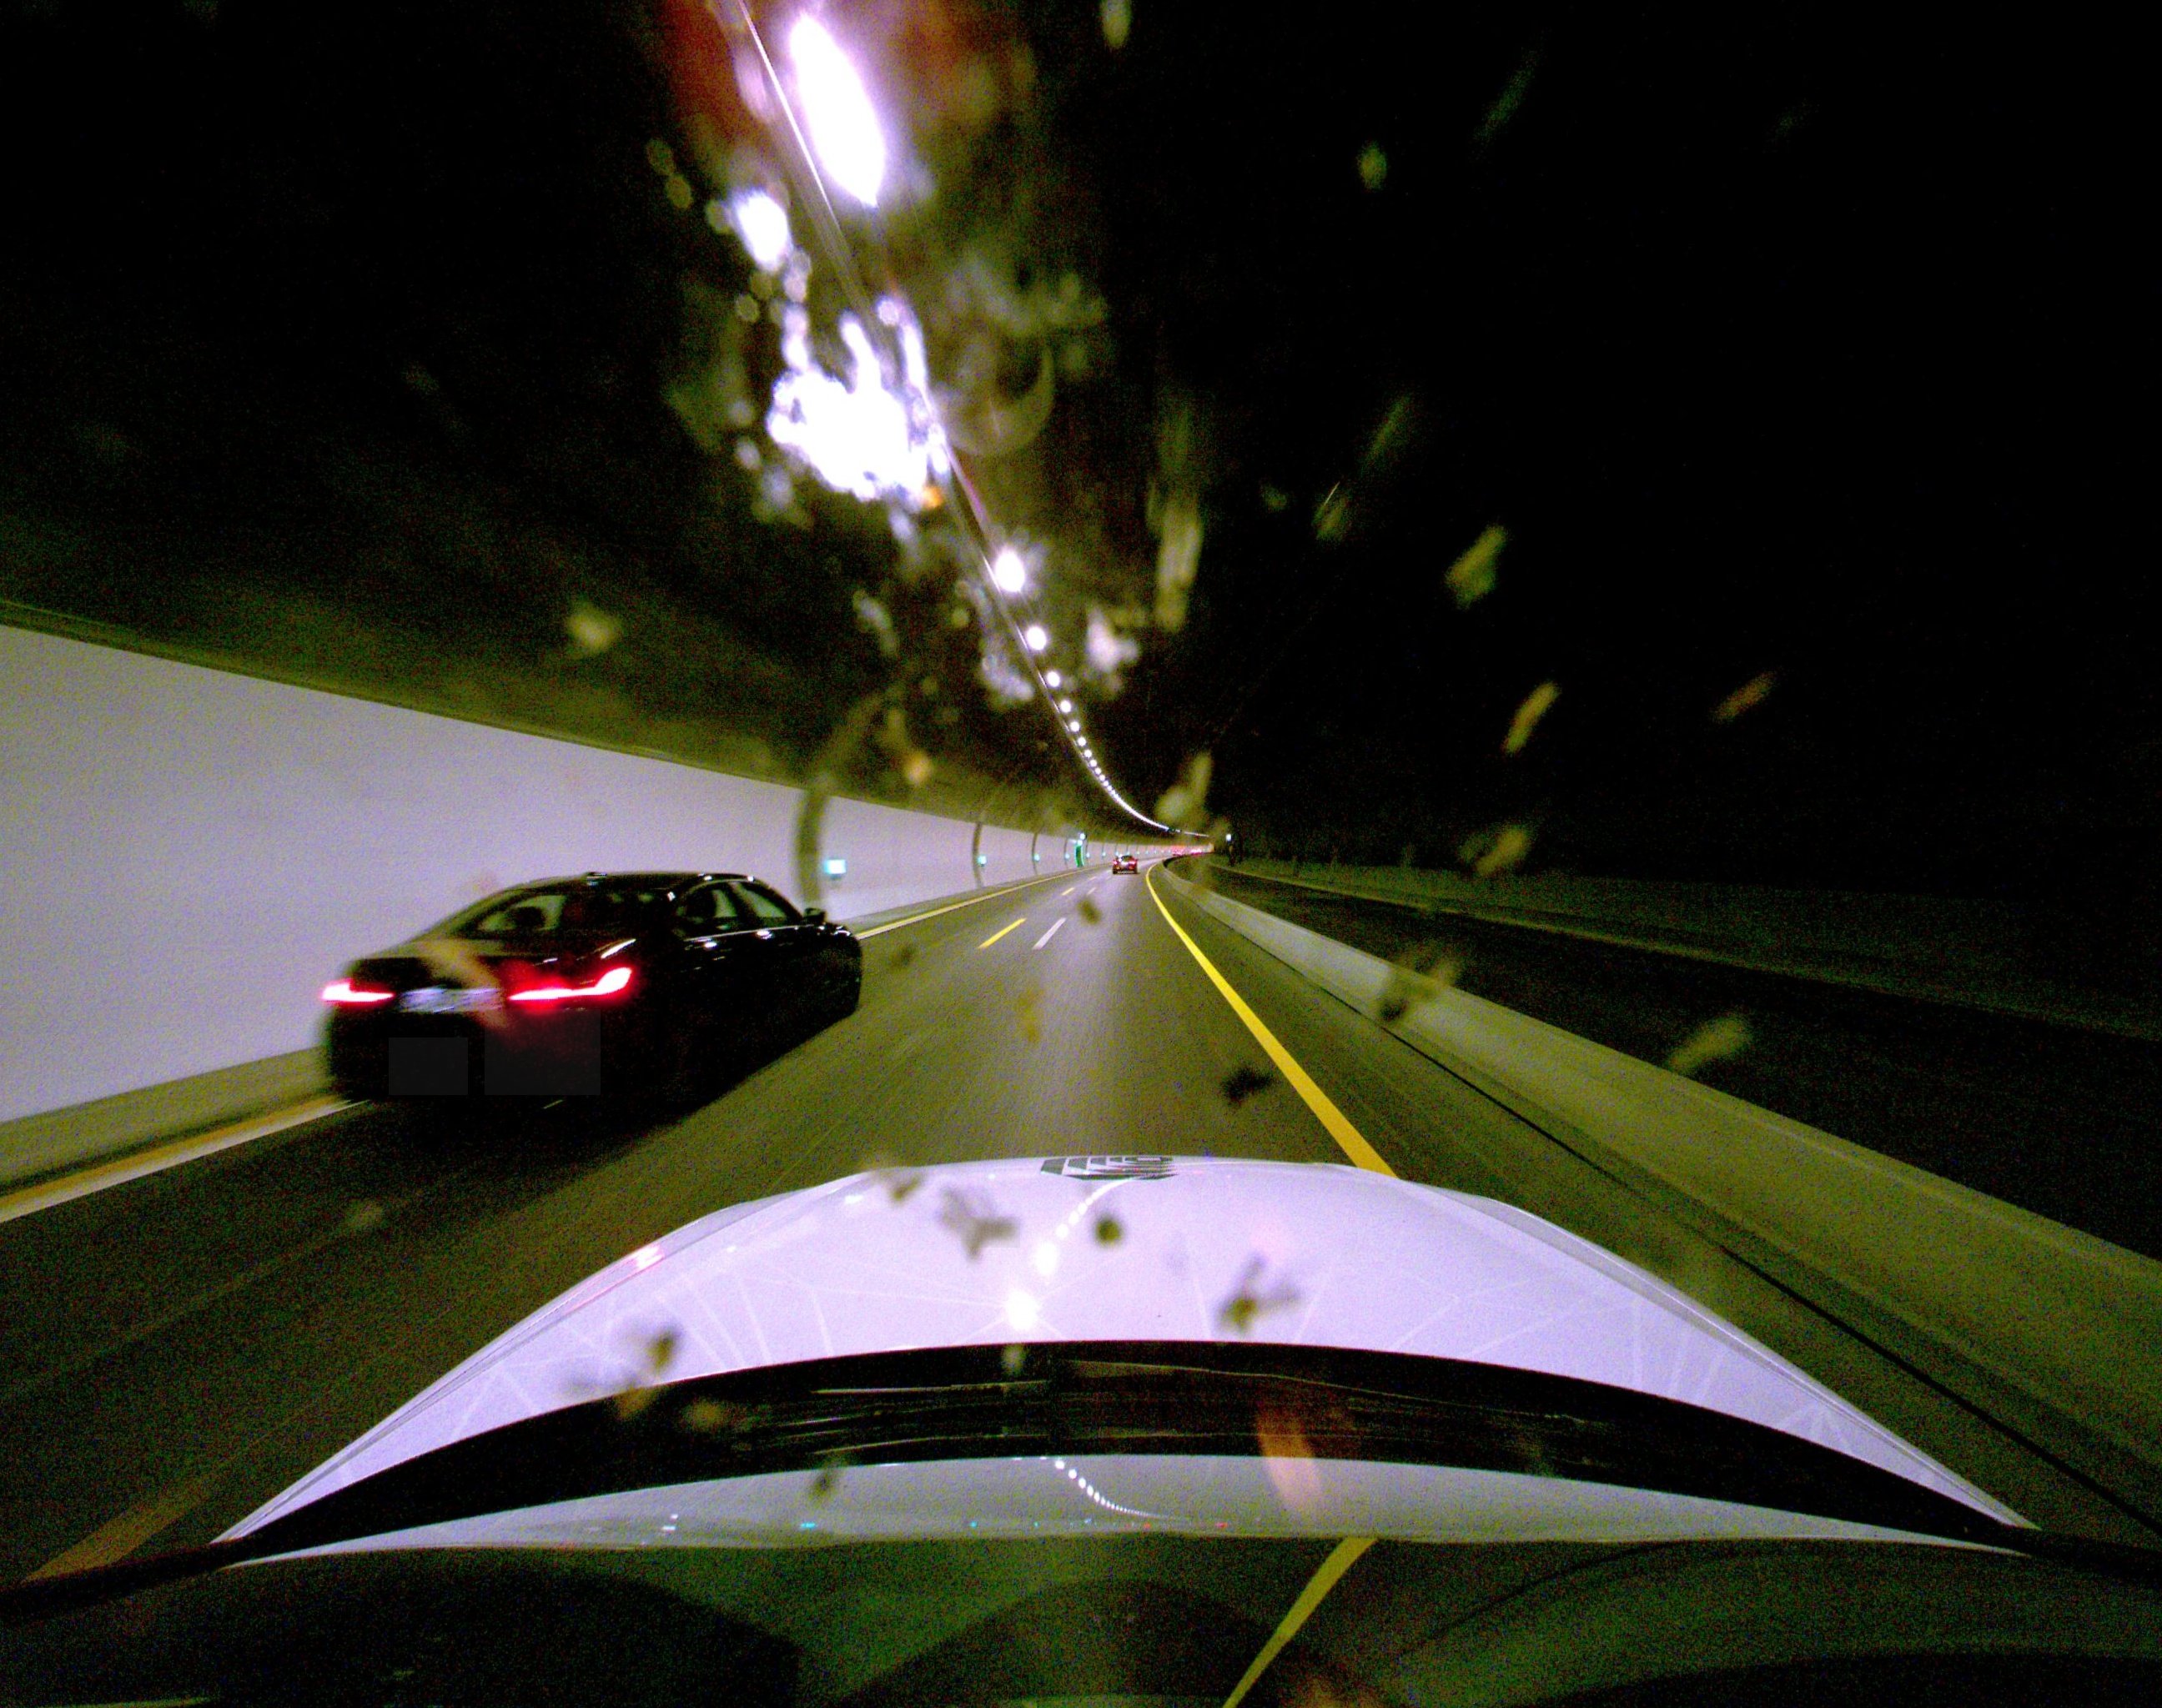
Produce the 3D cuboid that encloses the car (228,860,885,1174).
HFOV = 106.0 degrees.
[{"bbox_3d":[-3.119,0.805,6.350,1.771,1.438,4.886,-1,0,3],"label":"car"}]

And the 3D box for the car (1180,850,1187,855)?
[{"bbox_3d":[28.614,-0.313,226.686,1.584,1.333,3.763,-1,0,12],"label":"car"}]

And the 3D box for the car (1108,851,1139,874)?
[{"bbox_3d":[3.306,0.635,62.886,2.130,1.706,4.007,-1,0,6],"label":"car"}]

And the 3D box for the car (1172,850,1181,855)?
[{"bbox_3d":[28.778,-0.502,244.631,2.150,1.486,4.014,-1,0,13],"label":"car"}]
